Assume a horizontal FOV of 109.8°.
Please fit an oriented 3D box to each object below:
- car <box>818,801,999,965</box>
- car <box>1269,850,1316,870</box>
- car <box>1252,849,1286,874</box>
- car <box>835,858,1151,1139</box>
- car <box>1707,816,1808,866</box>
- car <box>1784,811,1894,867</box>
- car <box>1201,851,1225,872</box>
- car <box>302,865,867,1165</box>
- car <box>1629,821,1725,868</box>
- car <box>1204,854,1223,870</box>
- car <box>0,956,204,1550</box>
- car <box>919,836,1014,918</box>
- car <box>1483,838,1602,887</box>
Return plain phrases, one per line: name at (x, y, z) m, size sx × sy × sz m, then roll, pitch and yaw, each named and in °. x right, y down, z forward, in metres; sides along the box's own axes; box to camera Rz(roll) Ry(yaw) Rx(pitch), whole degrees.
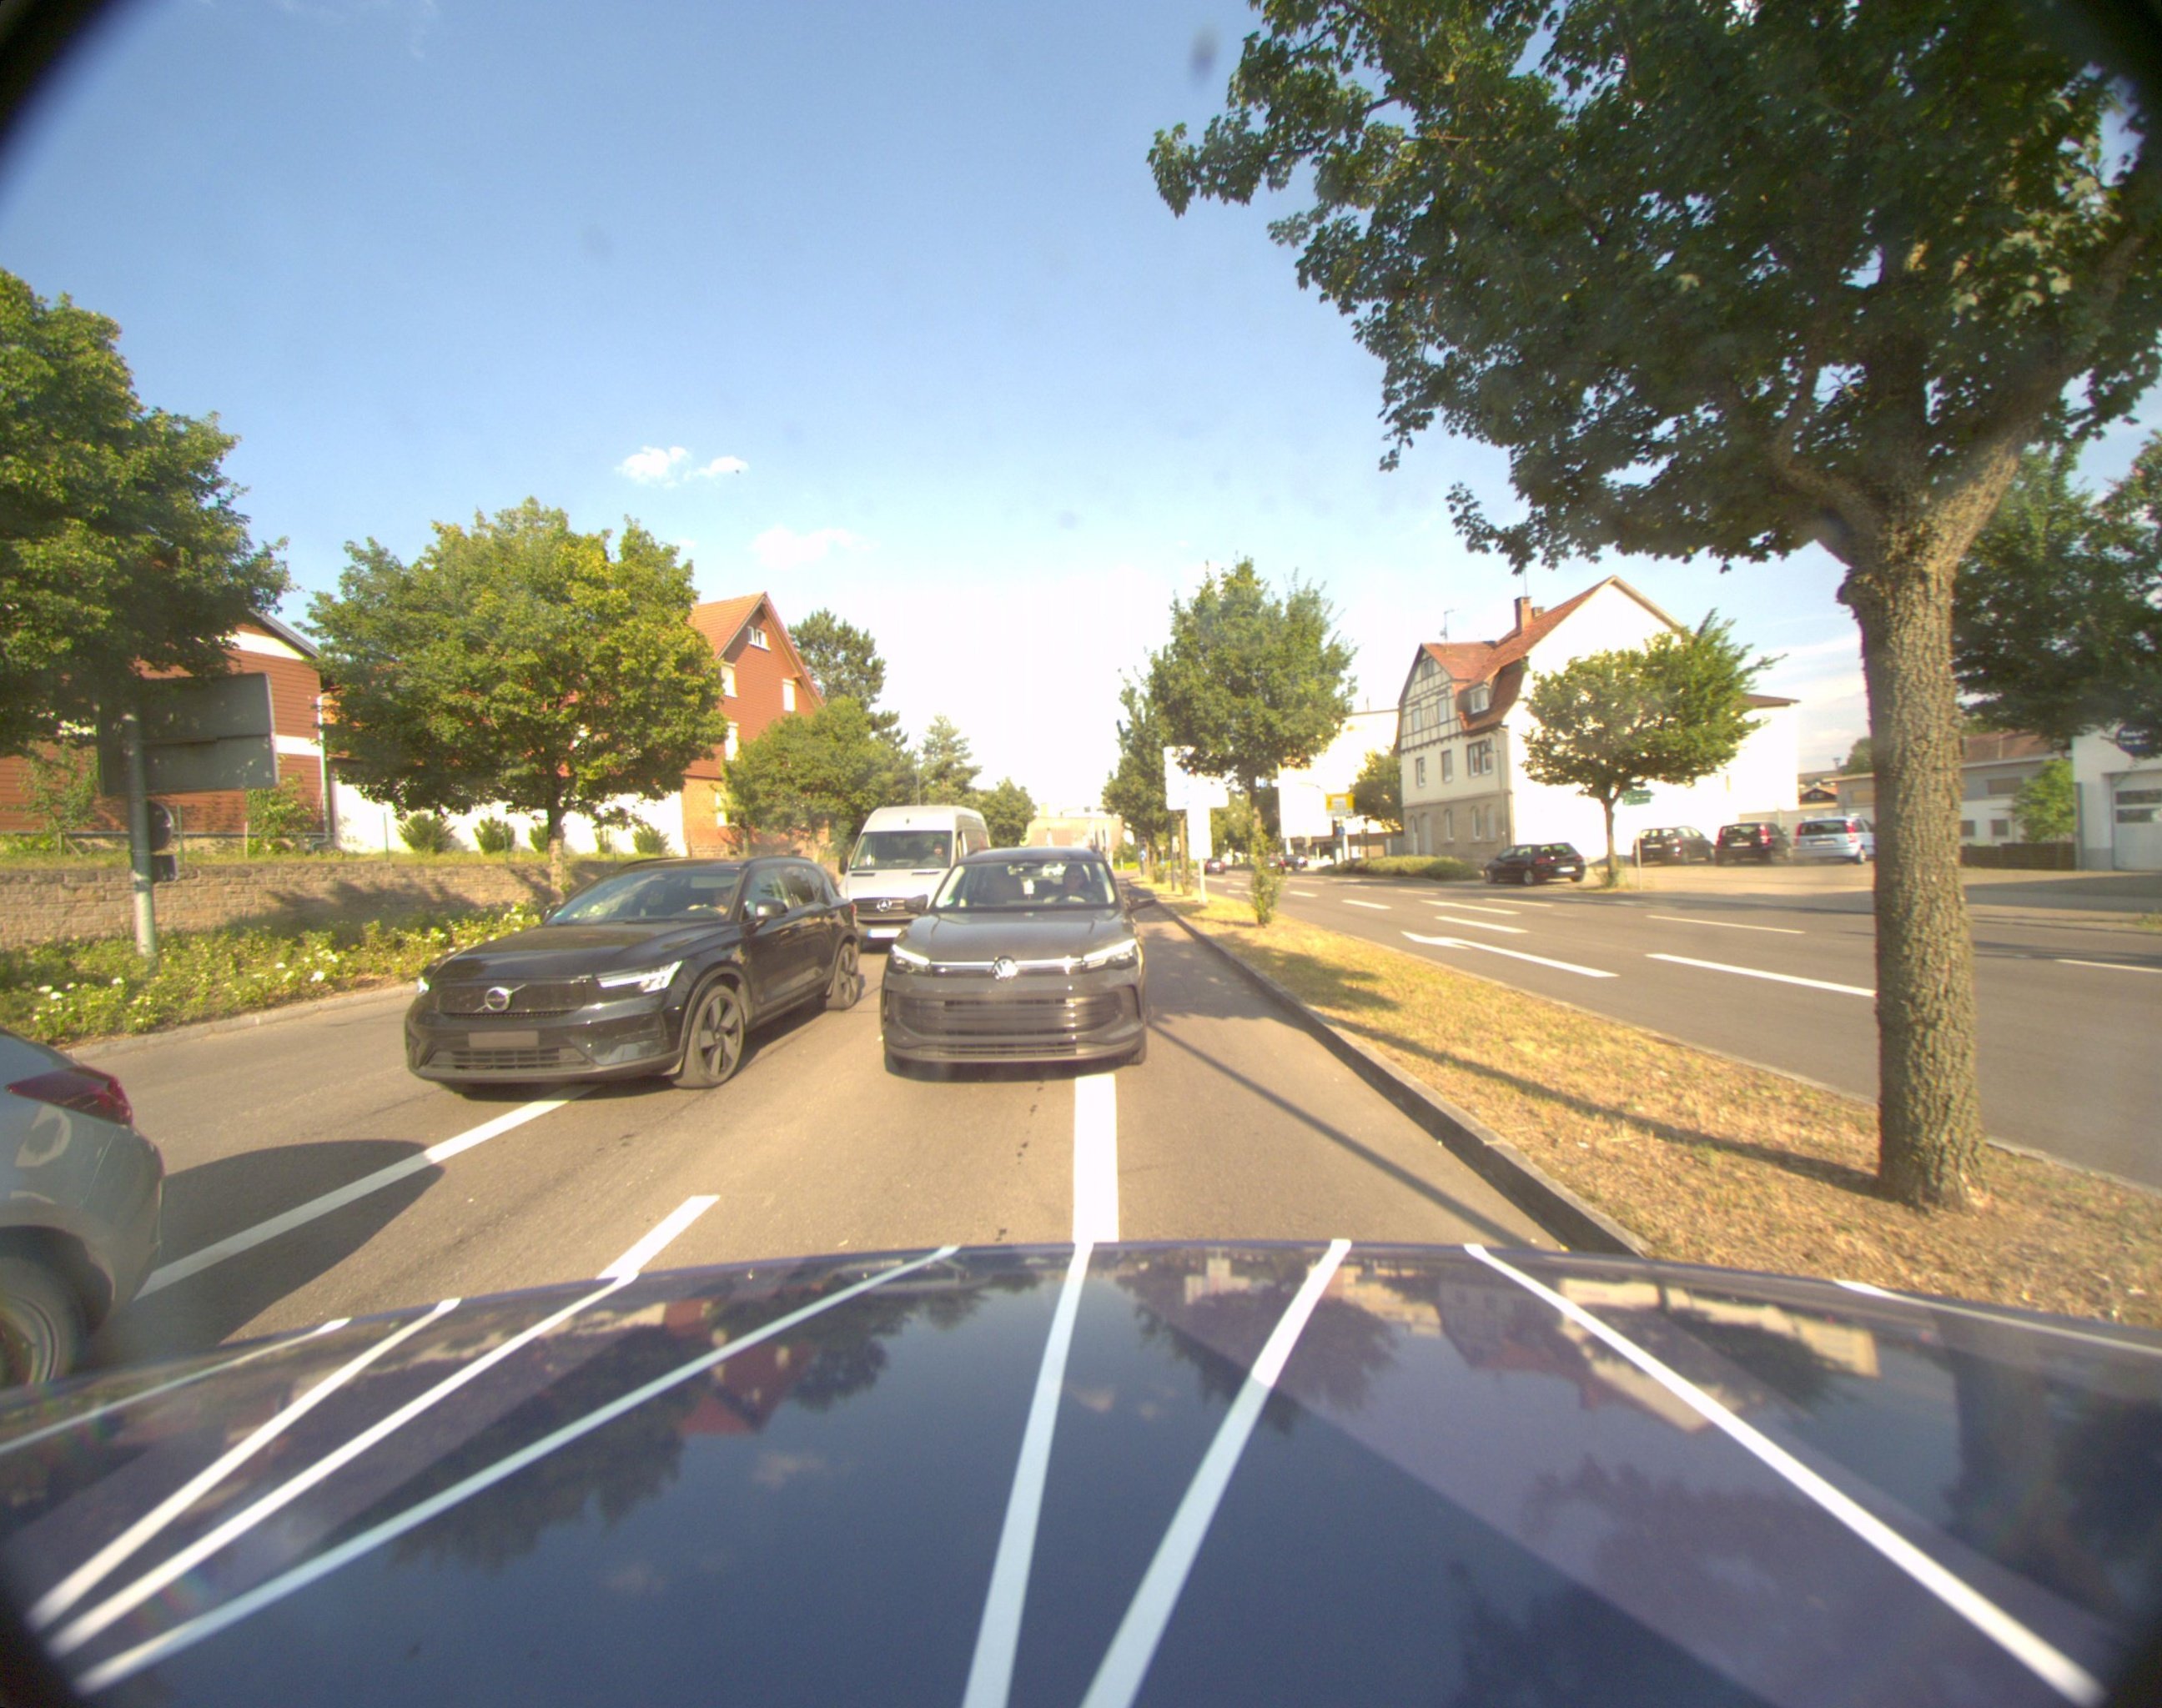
car at (-3.045, 0.442, 14.968) m, size 1.992 × 2.554 × 6.046 m, roll -1°, pitch 0°, yaw 2°
car at (19.210, 0.540, 69.280) m, size 3.993 × 1.664 × 1.789 m, roll -2°, pitch 1°, yaw 12°
car at (13.928, 0.521, 56.474) m, size 1.781 × 1.683 × 4.001 m, roll -2°, pitch 0°, yaw 4°
car at (-0.459, 0.869, 6.629) m, size 1.845 × 1.600 × 4.318 m, roll -1°, pitch 0°, yaw 2°
car at (24.647, -0.492, 27.670) m, size 3.830 × 1.493 × 1.816 m, roll -5°, pitch 0°, yaw -35°
car at (24.870, -0.506, 24.904) m, size 3.830 × 1.493 × 1.816 m, roll -5°, pitch 0°, yaw -35°
car at (11.203, 0.598, 64.636) m, size 1.780 × 1.683 × 4.002 m, roll -2°, pitch 0°, yaw 7°
car at (-3.407, 0.944, 6.440) m, size 1.845 × 1.600 × 4.318 m, roll -1°, pitch 0°, yaw 2°
car at (23.368, -0.394, 29.766) m, size 3.830 × 1.493 × 1.816 m, roll -5°, pitch 0°, yaw -35°
car at (14.582, 0.845, 83.529) m, size 1.780 × 1.683 × 4.003 m, roll -2°, pitch 0°, yaw 12°
car at (-3.620, 1.057, 0.192) m, size 1.766 × 1.445 × 4.318 m, roll -1°, pitch 0°, yaw 0°
car at (-3.025, 0.556, 20.963) m, size 1.845 × 2.018 × 4.318 m, roll -1°, pitch 0°, yaw 2°
car at (16.023, 0.277, 26.631) m, size 1.818 × 1.442 × 3.825 m, roll -5°, pitch 0°, yaw 1°
